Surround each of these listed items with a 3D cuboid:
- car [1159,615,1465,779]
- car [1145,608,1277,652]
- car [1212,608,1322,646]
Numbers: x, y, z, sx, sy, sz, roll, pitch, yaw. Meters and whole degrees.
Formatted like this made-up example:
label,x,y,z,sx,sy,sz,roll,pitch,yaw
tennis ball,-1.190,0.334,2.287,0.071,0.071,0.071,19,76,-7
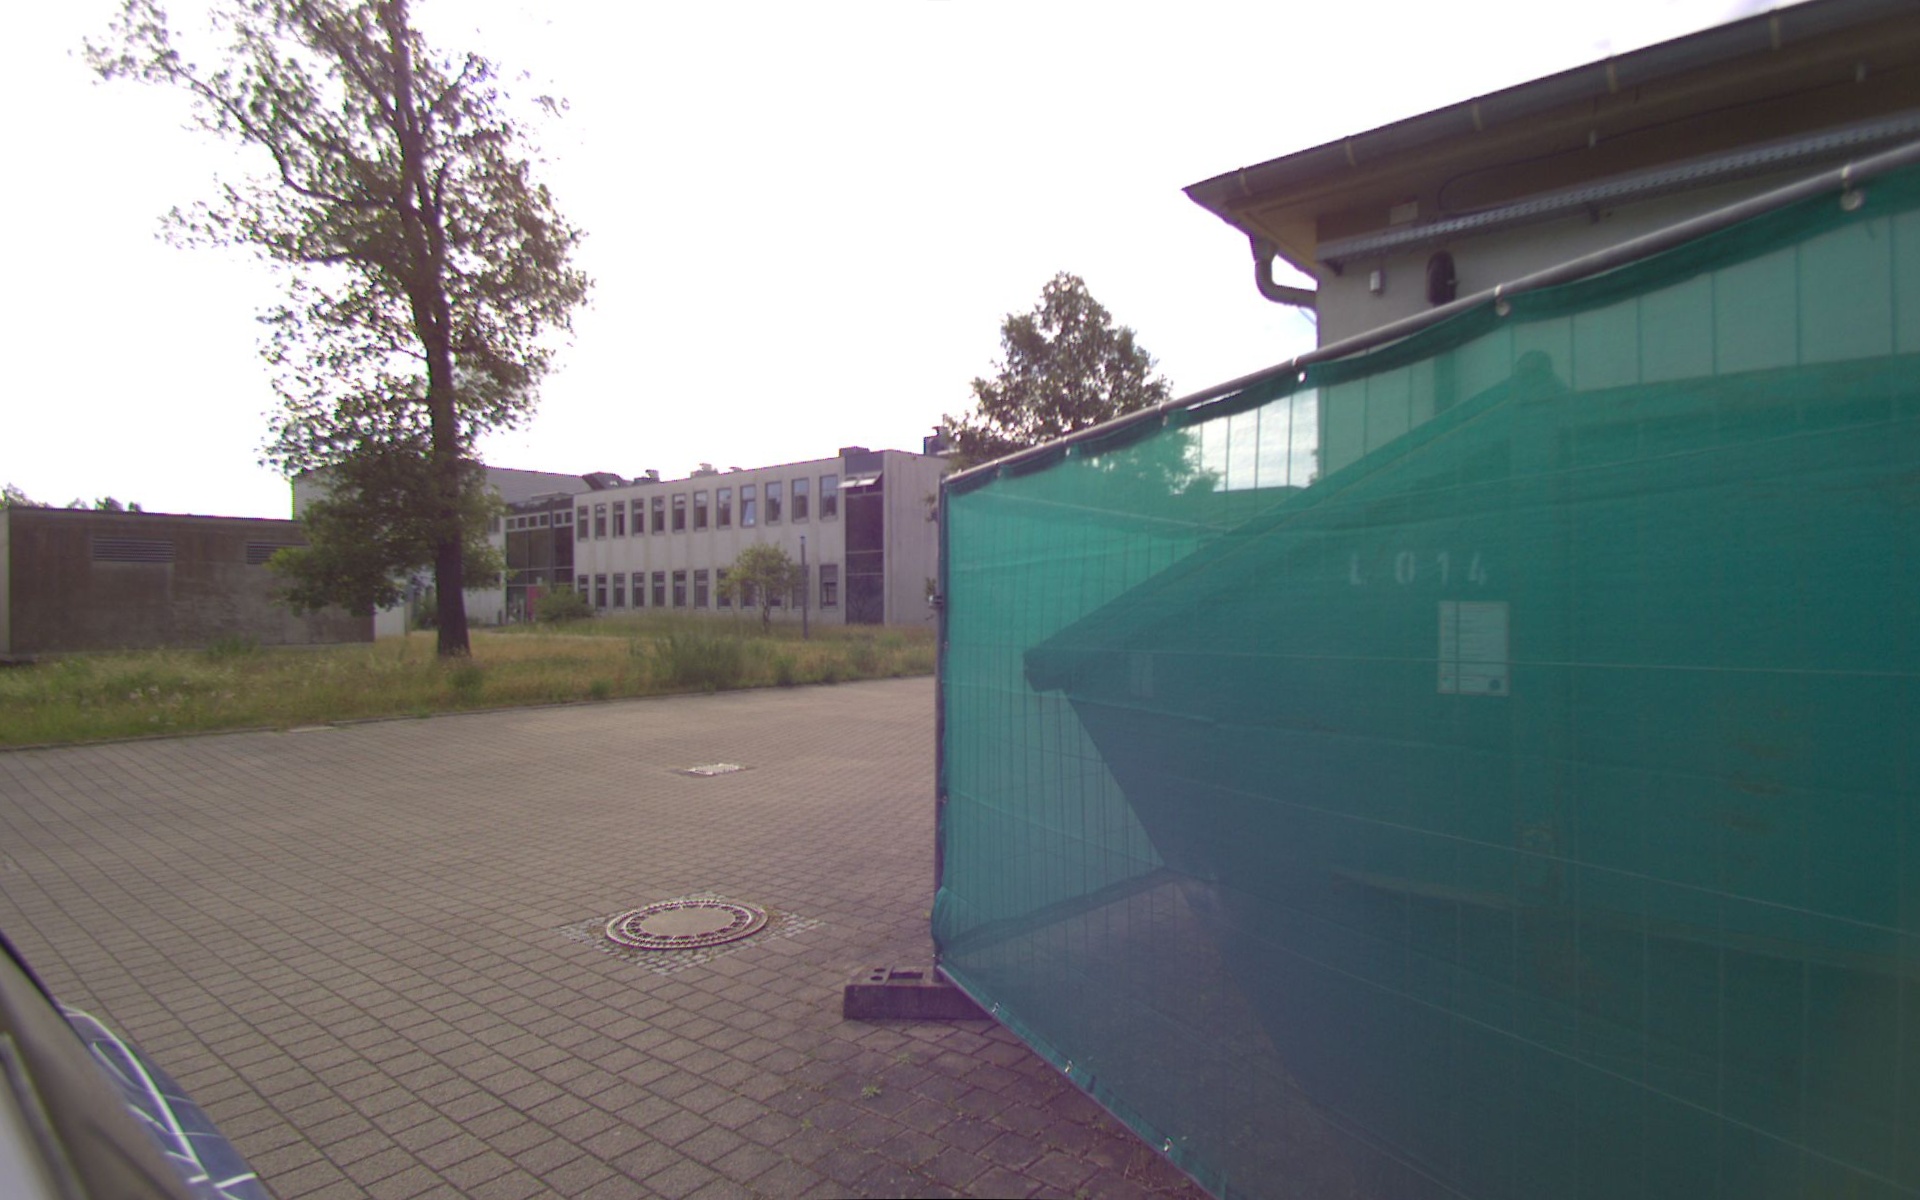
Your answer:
label,x,y,z,sx,sy,sz,roll,pitch,yaw
car,4.136,0.936,11.422,1.928,1.450,4.311,-3,-2,38
car,9.395,1.072,38.068,4.475,1.458,1.918,1,0,40
car,12.709,1.076,42.026,3.986,1.477,1.857,0,0,40
